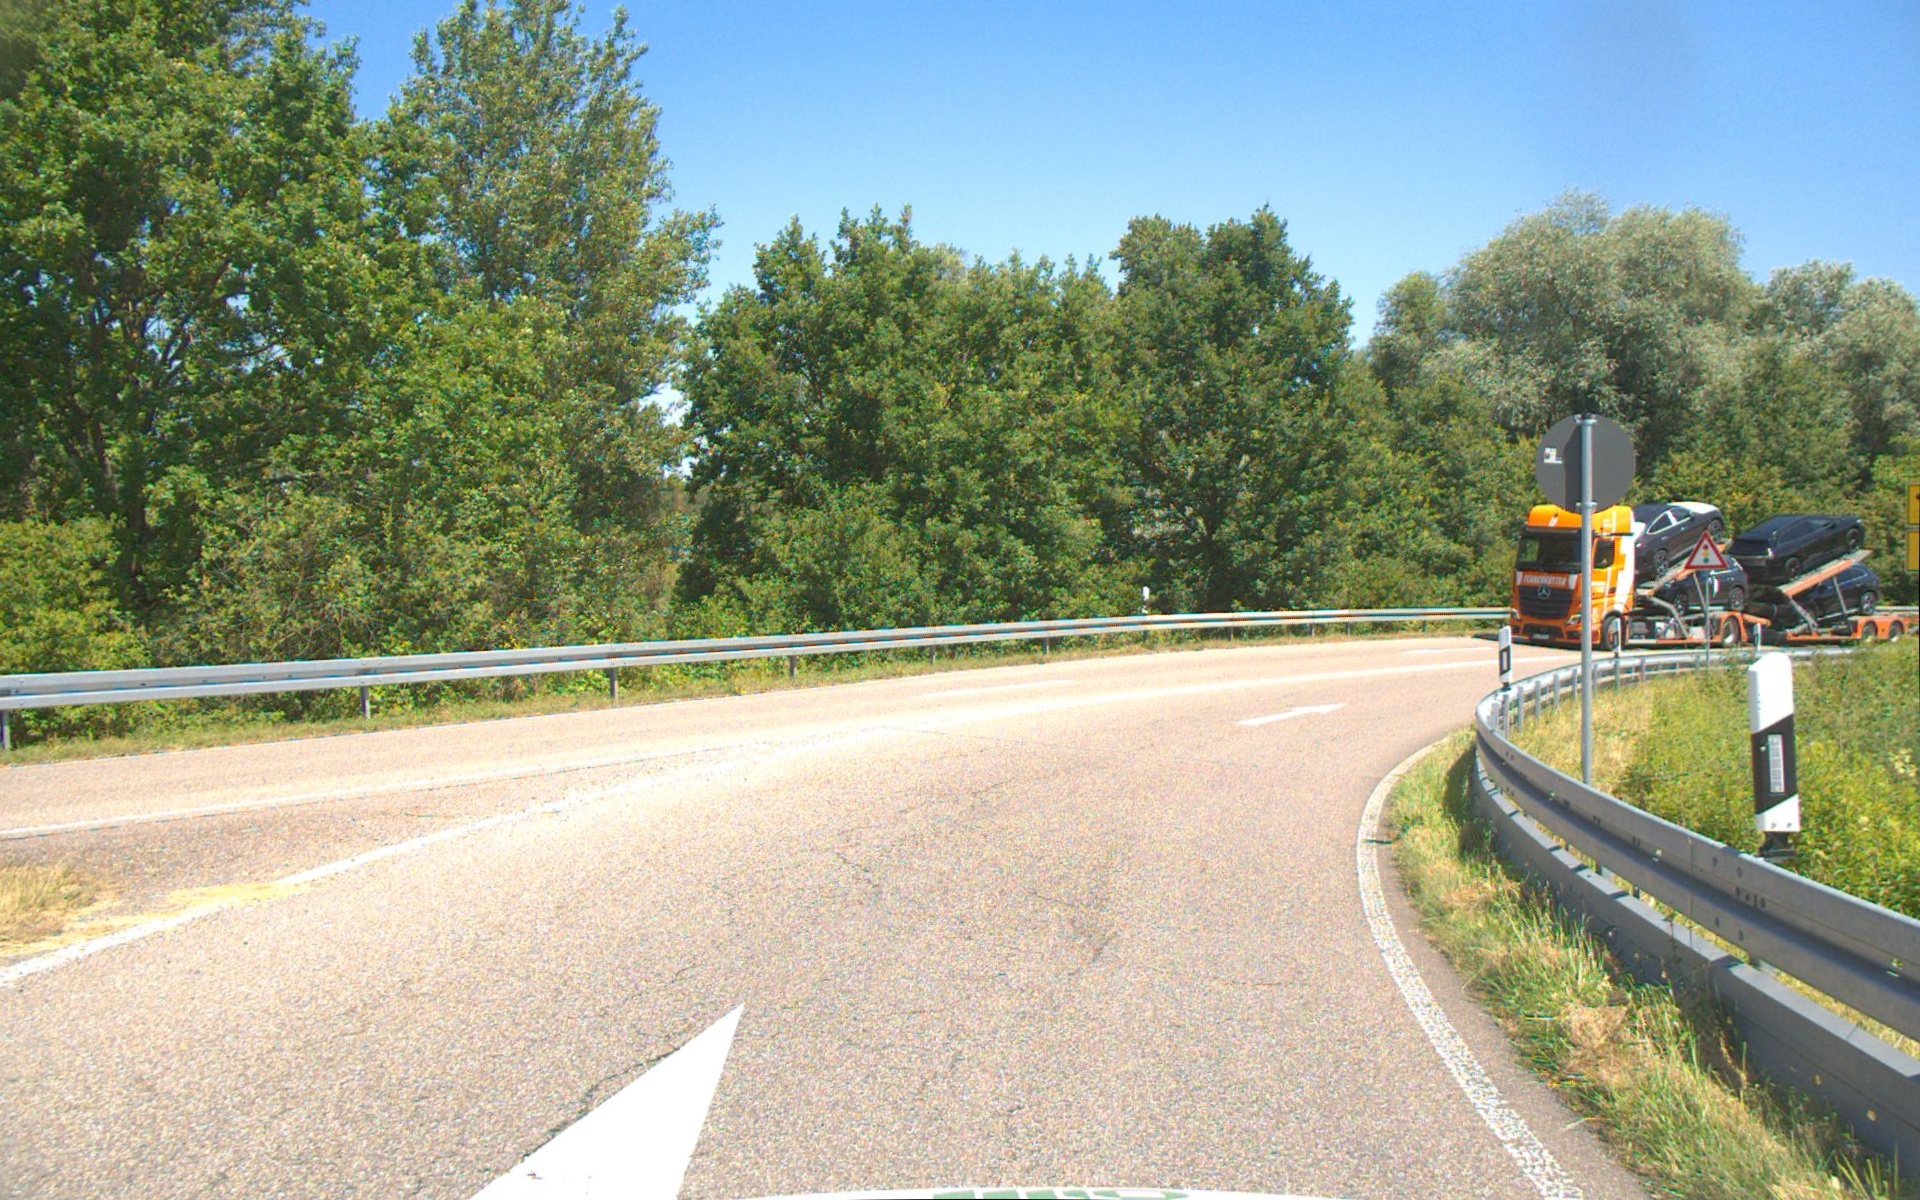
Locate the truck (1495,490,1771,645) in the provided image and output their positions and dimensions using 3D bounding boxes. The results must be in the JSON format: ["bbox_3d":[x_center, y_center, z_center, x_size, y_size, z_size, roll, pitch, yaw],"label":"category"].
[{"bbox_3d":[18.986,-0.847,46.391,8.677,3.965,2.766,1,2,-35],"label":"truck"}]

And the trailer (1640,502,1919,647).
[{"bbox_3d":[27.064,-0.668,50.979,13.770,3.965,2.779,2,2,-27],"label":"trailer"}]
